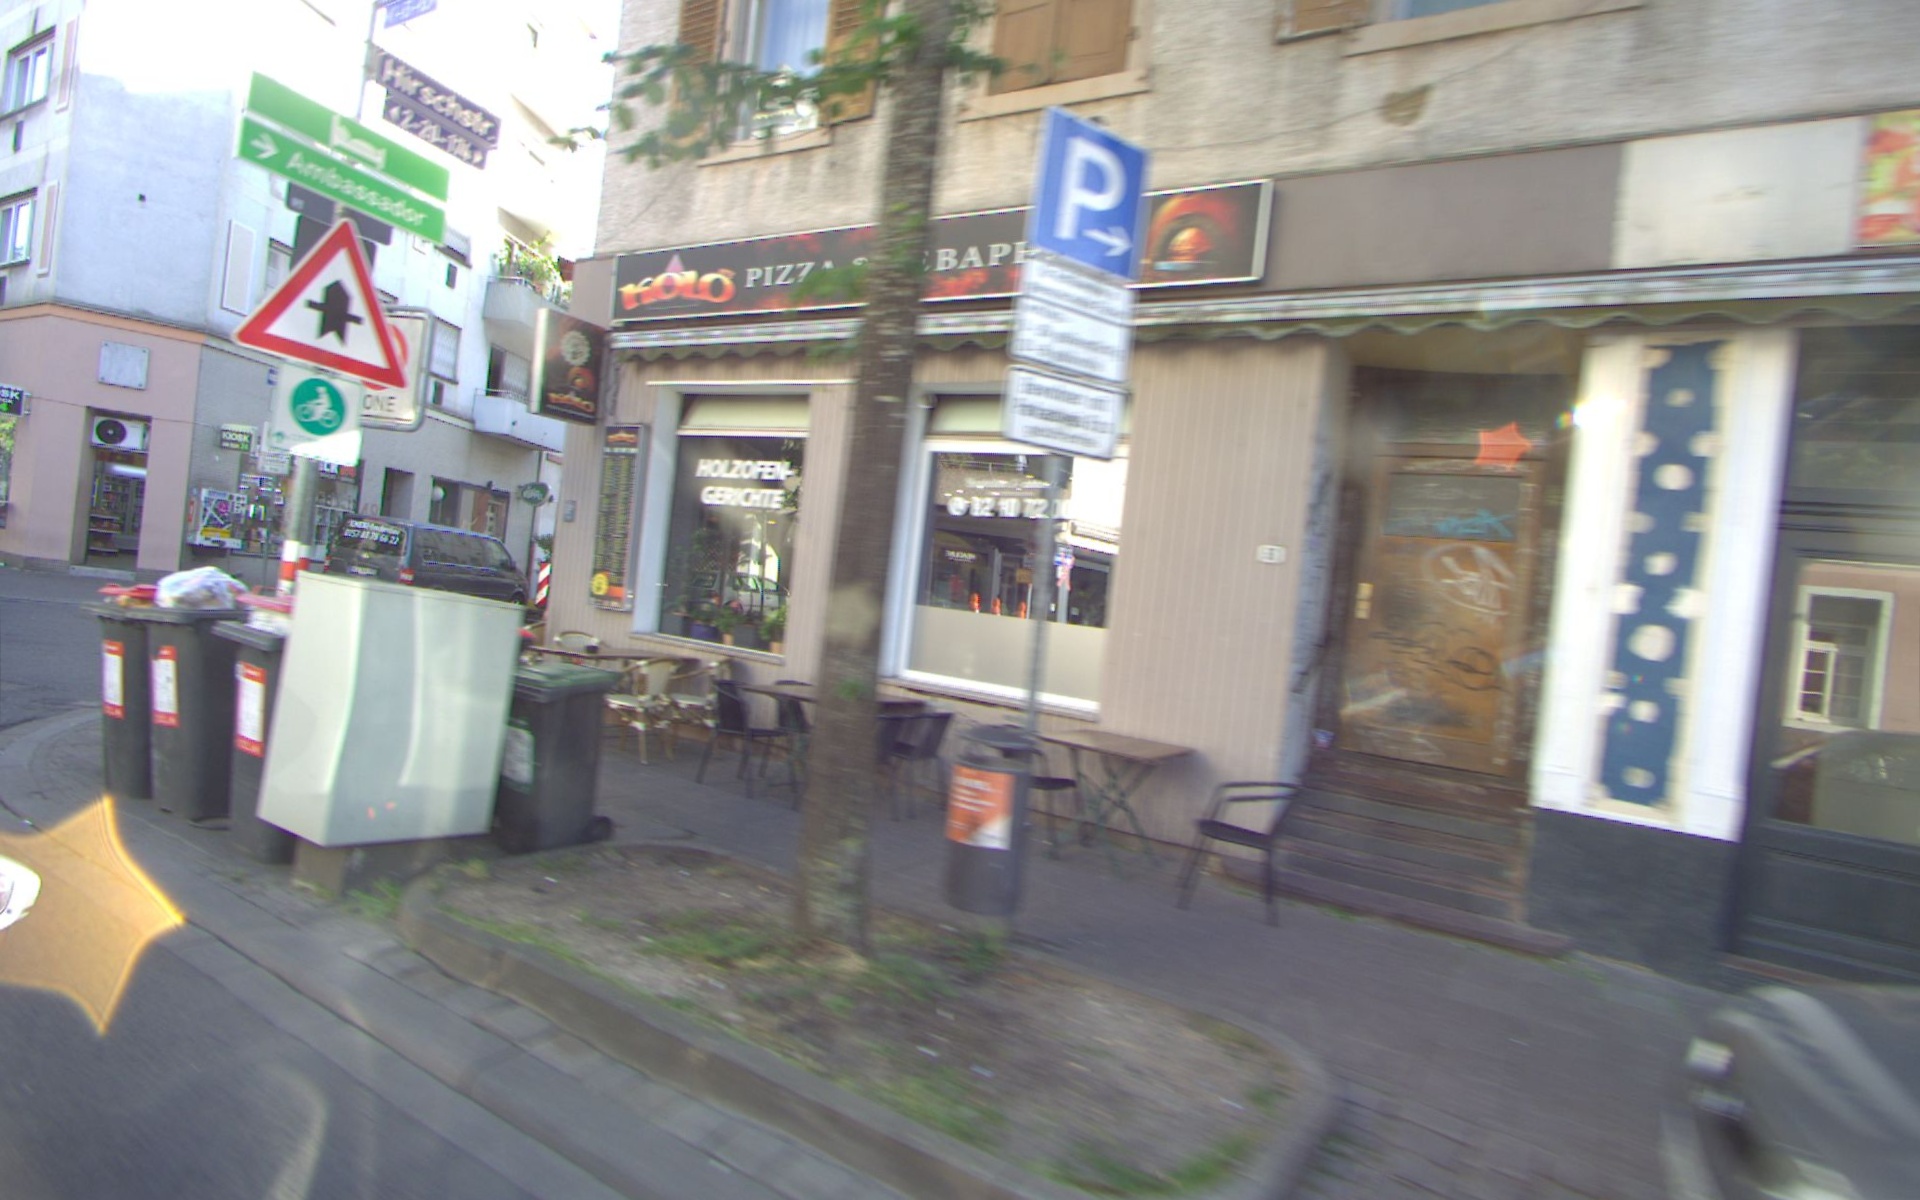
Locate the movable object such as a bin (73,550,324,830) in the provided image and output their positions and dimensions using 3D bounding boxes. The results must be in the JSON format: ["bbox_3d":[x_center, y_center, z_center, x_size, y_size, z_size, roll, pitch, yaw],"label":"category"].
[{"bbox_3d":[-3.822,0.428,5.072,0.669,1.238,0.706,7,1,29],"label":"movable object such as a bin"}]

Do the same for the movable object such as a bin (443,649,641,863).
[{"bbox_3d":[-2.064,0.738,4.983,0.617,0.907,0.563,7,1,29],"label":"movable object such as a bin"}]

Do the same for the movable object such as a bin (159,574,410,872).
[{"bbox_3d":[-3.117,0.534,4.659,0.699,1.194,0.622,7,1,29],"label":"movable object such as a bin"}]

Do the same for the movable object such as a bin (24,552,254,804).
[{"bbox_3d":[-4.432,0.401,5.447,0.727,1.194,0.660,7,1,29],"label":"movable object such as a bin"}]

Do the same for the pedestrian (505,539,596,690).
[{"bbox_3d":[-4.791,0.171,11.768,0.653,1.670,0.547,7,1,32],"label":"pedestrian"}]

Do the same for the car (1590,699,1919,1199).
[{"bbox_3d":[3.380,1.180,1.235,4.228,1.409,1.823,7,2,31],"label":"car"}]

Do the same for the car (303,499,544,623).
[{"bbox_3d":[-10.766,-0.677,20.699,1.962,2.038,4.698,7,0,5],"label":"car"}]
